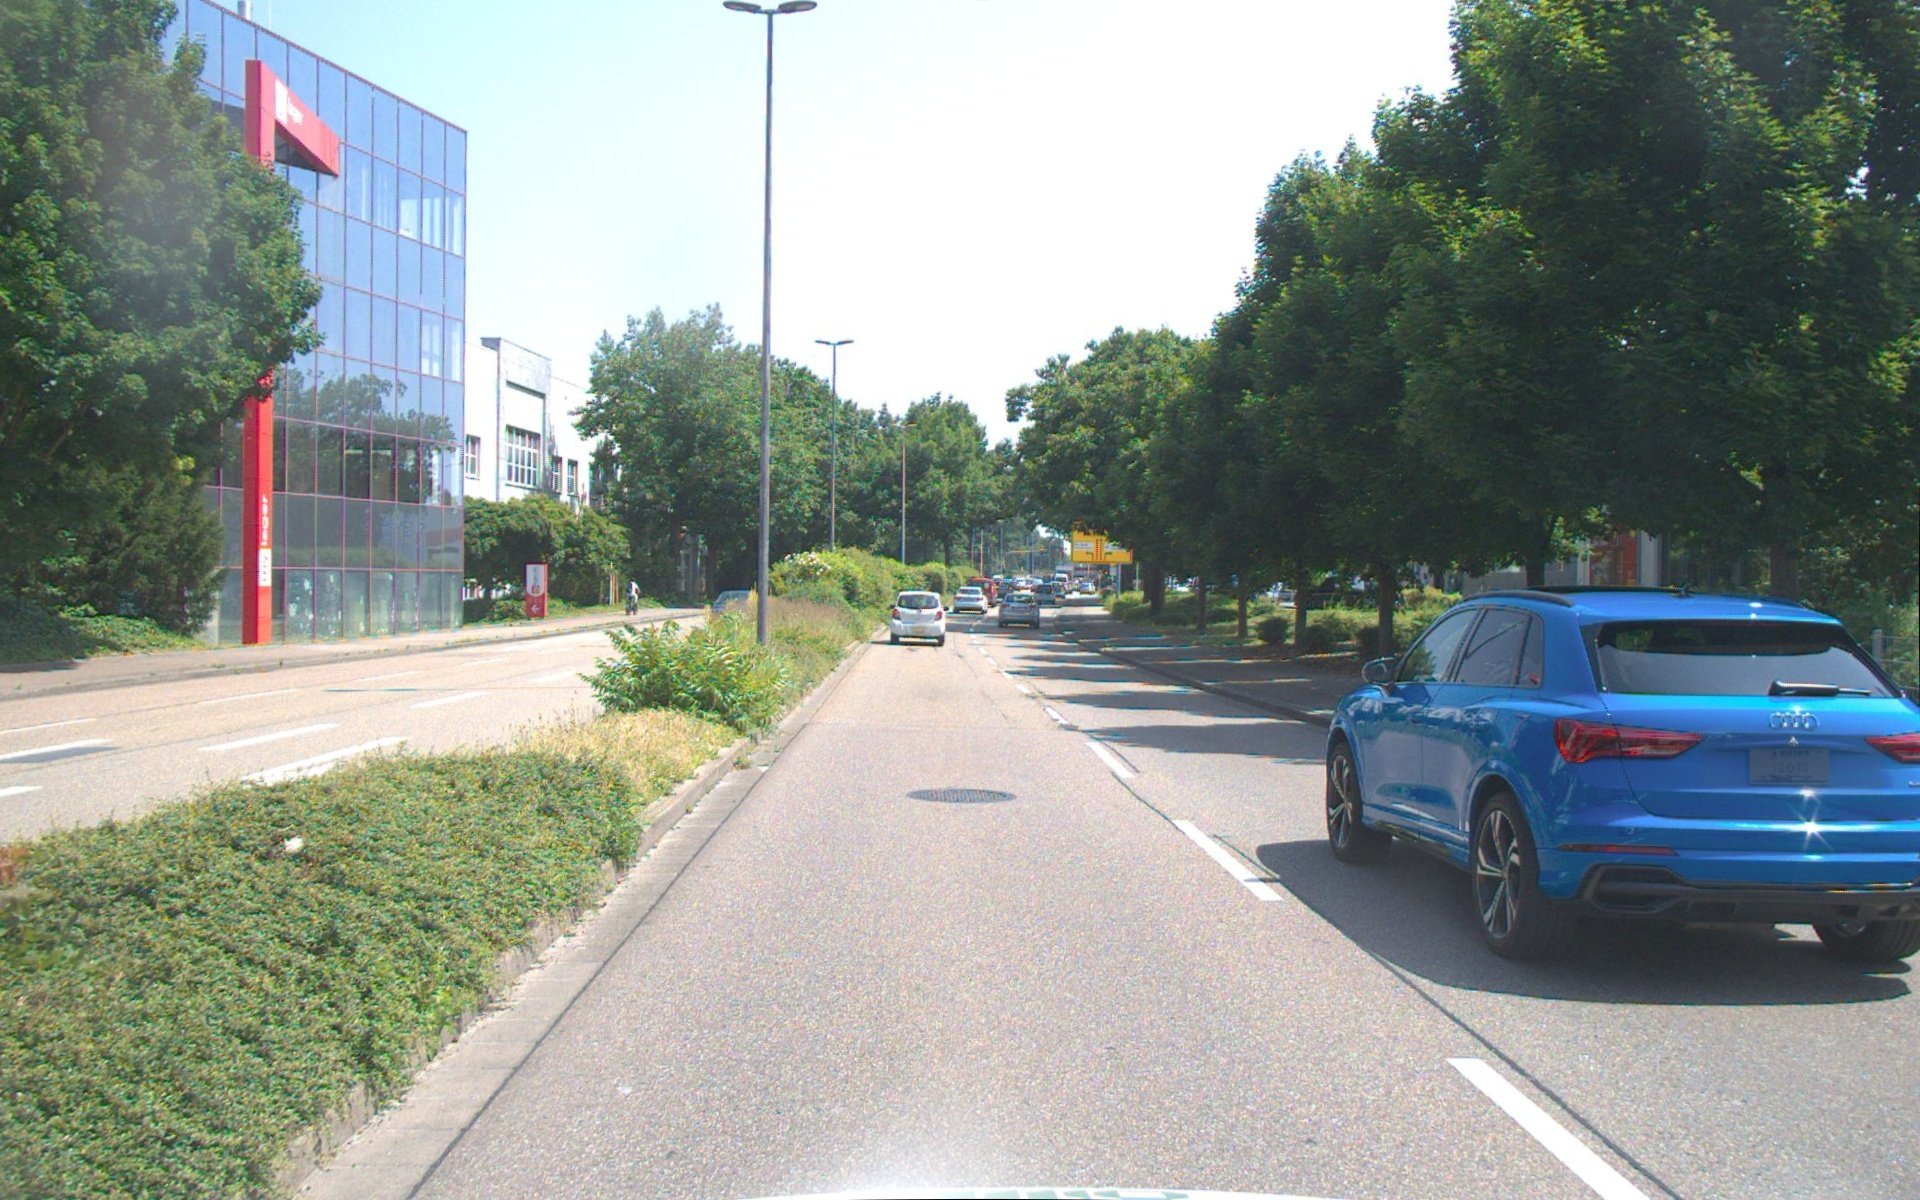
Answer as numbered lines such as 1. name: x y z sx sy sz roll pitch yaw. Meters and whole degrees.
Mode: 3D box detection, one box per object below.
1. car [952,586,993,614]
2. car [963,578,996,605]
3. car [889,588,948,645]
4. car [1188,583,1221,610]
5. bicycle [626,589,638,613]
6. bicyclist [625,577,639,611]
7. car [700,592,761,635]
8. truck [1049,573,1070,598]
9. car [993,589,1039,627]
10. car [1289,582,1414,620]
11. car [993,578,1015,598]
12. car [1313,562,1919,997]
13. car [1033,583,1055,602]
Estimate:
1. car: 0.692 0.008 88.150 1.845 1.378 4.002 2 0 4
2. car: 1.243 -0.535 105.395 1.845 1.636 4.002 -1 0 4
3. car: -1.207 0.472 49.081 1.605 1.579 3.325 1 0 0
4. car: 12.376 -0.179 83.874 1.584 1.275 3.766 2 0 7
5. bicycle: -14.885 0.053 75.012 0.339 1.086 0.923 -1 0 -1
6. bicyclist: -14.900 -0.266 75.066 0.534 1.536 0.343 -1 0 -1
7. car: -8.227 0.451 59.544 1.687 1.441 4.246 -1 1 -1
8. truck: 14.421 -2.165 240.375 2.870 3.563 9.163 1 1 4
9. car: 2.342 0.333 69.089 1.827 1.498 4.001 2 0 2
10. car: 14.930 0.031 63.301 1.929 1.375 4.661 -1 0 -33
11. car: 3.316 -0.918 125.476 1.457 1.416 3.307 2 0 -1
12. car: 3.218 0.685 8.462 1.772 1.620 4.348 2 0 -1
13. car: 6.316 -0.556 124.532 1.412 1.372 3.459 -1 0 -1
